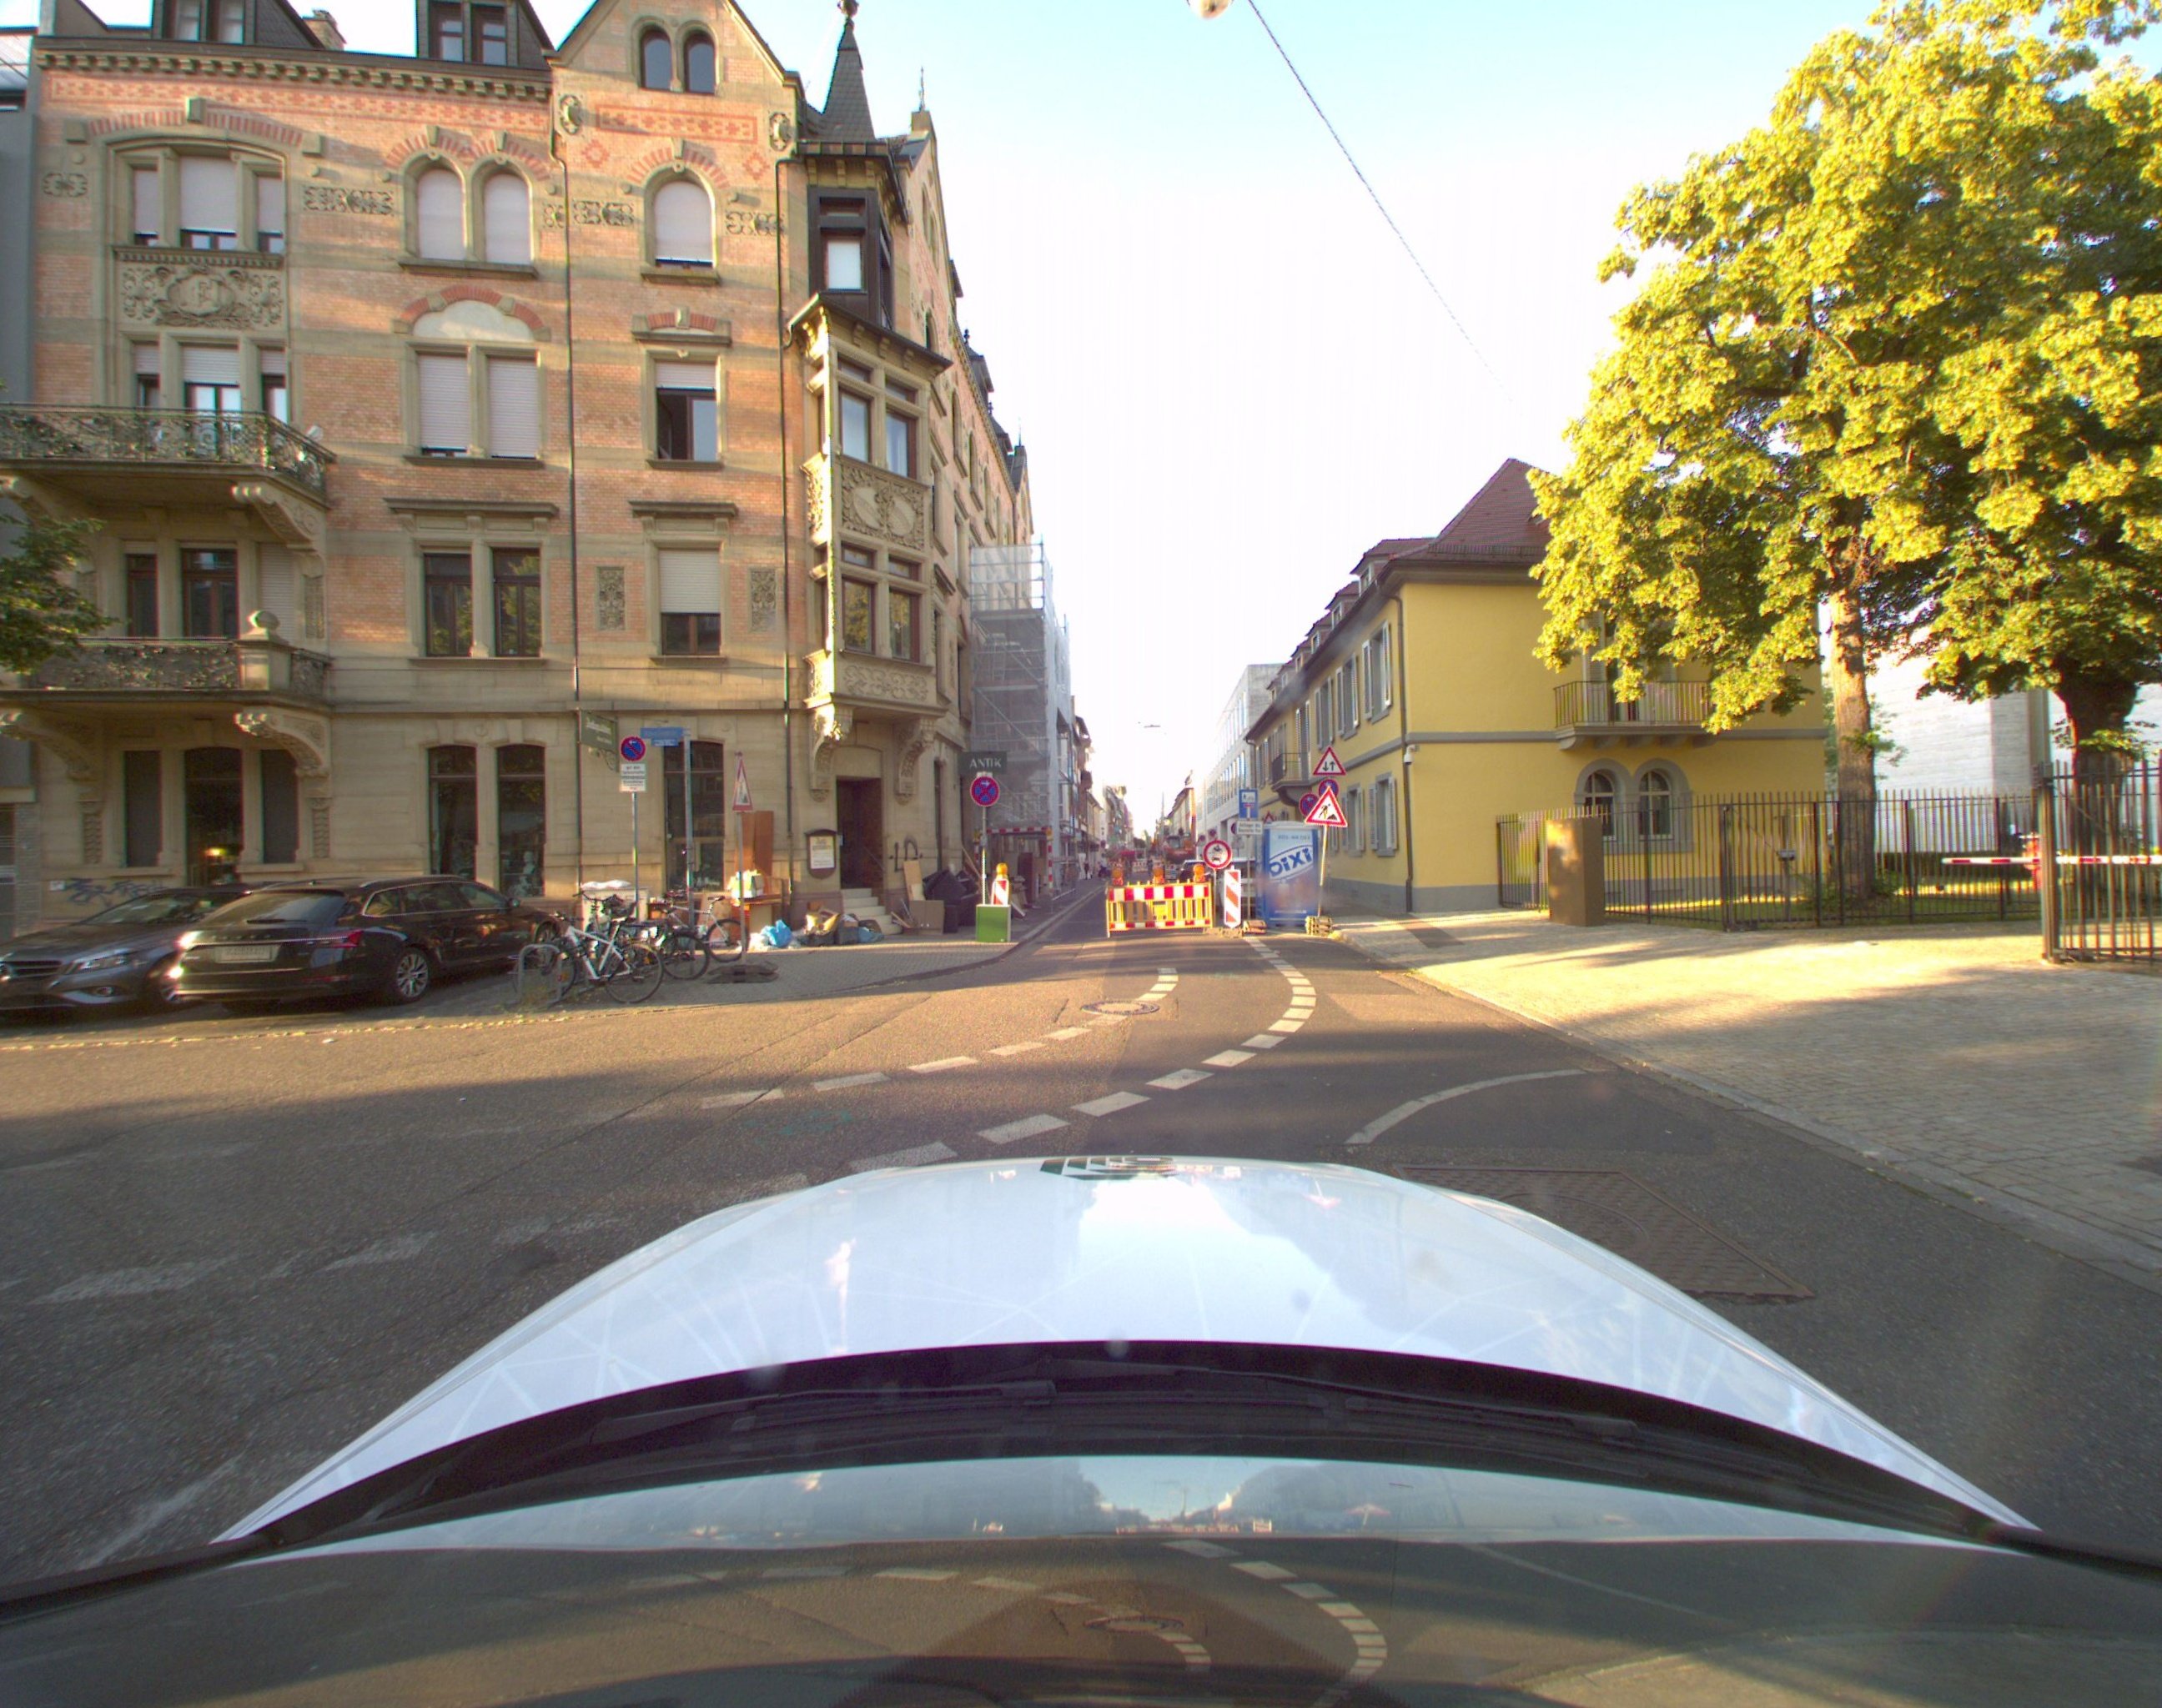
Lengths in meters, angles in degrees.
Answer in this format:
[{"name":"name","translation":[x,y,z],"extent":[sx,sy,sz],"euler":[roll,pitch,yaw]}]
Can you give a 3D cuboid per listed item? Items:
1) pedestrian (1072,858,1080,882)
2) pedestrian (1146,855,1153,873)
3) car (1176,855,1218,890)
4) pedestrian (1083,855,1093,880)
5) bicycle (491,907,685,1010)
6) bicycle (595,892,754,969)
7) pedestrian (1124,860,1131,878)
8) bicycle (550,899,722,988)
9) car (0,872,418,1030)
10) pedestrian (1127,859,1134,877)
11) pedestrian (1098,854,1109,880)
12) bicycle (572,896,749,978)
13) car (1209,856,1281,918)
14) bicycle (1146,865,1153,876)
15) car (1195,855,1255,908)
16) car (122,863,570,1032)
[{"name":"pedestrian","translation":[-0.353,1.075,53.668],"extent":[0.339,1.566,0.423],"euler":[-1,-1,26]},{"name":"pedestrian","translation":[5.696,0.822,67.909],"extent":[0.502,1.461,0.513],"euler":[-2,0,4]},{"name":"car","translation":[5.324,0.829,37.804],"extent":[1.709,1.520,3.226],"euler":[-2,0,5]},{"name":"pedestrian","translation":[0.492,0.954,58.342],"extent":[0.673,1.733,0.700],"euler":[-1,-1,1]},{"name":"bicycle","translation":[-5.617,1.180,9.354],"extent":[1.822,1.047,0.571],"euler":[-1,0,-4]},{"name":"bicycle","translation":[-6.130,1.145,12.356],"extent":[2.101,1.040,0.464],"euler":[-1,0,-7]},{"name":"pedestrian","translation":[3.697,1.185,64.517],"extent":[0.502,1.461,0.513],"euler":[-2,0,5]},{"name":"bicycle","translation":[-5.754,1.145,10.613],"extent":[1.824,1.014,0.638],"euler":[-1,0,-7]},{"name":"car","translation":[-11.432,1.080,10.767],"extent":[1.859,1.479,4.533],"euler":[-2,1,-5]},{"name":"pedestrian","translation":[4.094,1.141,67.428],"extent":[0.501,1.461,0.514],"euler":[-2,0,10]},{"name":"pedestrian","translation":[1.533,0.892,55.421],"extent":[0.508,1.764,0.507],"euler":[-1,-1,-37]},{"name":"bicycle","translation":[-5.900,1.151,11.510],"extent":[2.101,1.014,0.638],"euler":[-1,0,-7]},{"name":"car","translation":[4.262,0.810,21.528],"extent":[1.533,1.520,3.225],"euler":[0,0,5]},{"name":"bicycle","translation":[5.716,1.345,67.984],"extent":[0.502,0.884,1.478],"euler":[-2,0,4]},{"name":"car","translation":[4.548,0.813,26.126],"extent":[1.533,1.520,3.984],"euler":[-2,0,5]},{"name":"car","translation":[-8.867,0.971,10.546],"extent":[1.902,1.511,4.533],"euler":[-2,1,-5]}]
